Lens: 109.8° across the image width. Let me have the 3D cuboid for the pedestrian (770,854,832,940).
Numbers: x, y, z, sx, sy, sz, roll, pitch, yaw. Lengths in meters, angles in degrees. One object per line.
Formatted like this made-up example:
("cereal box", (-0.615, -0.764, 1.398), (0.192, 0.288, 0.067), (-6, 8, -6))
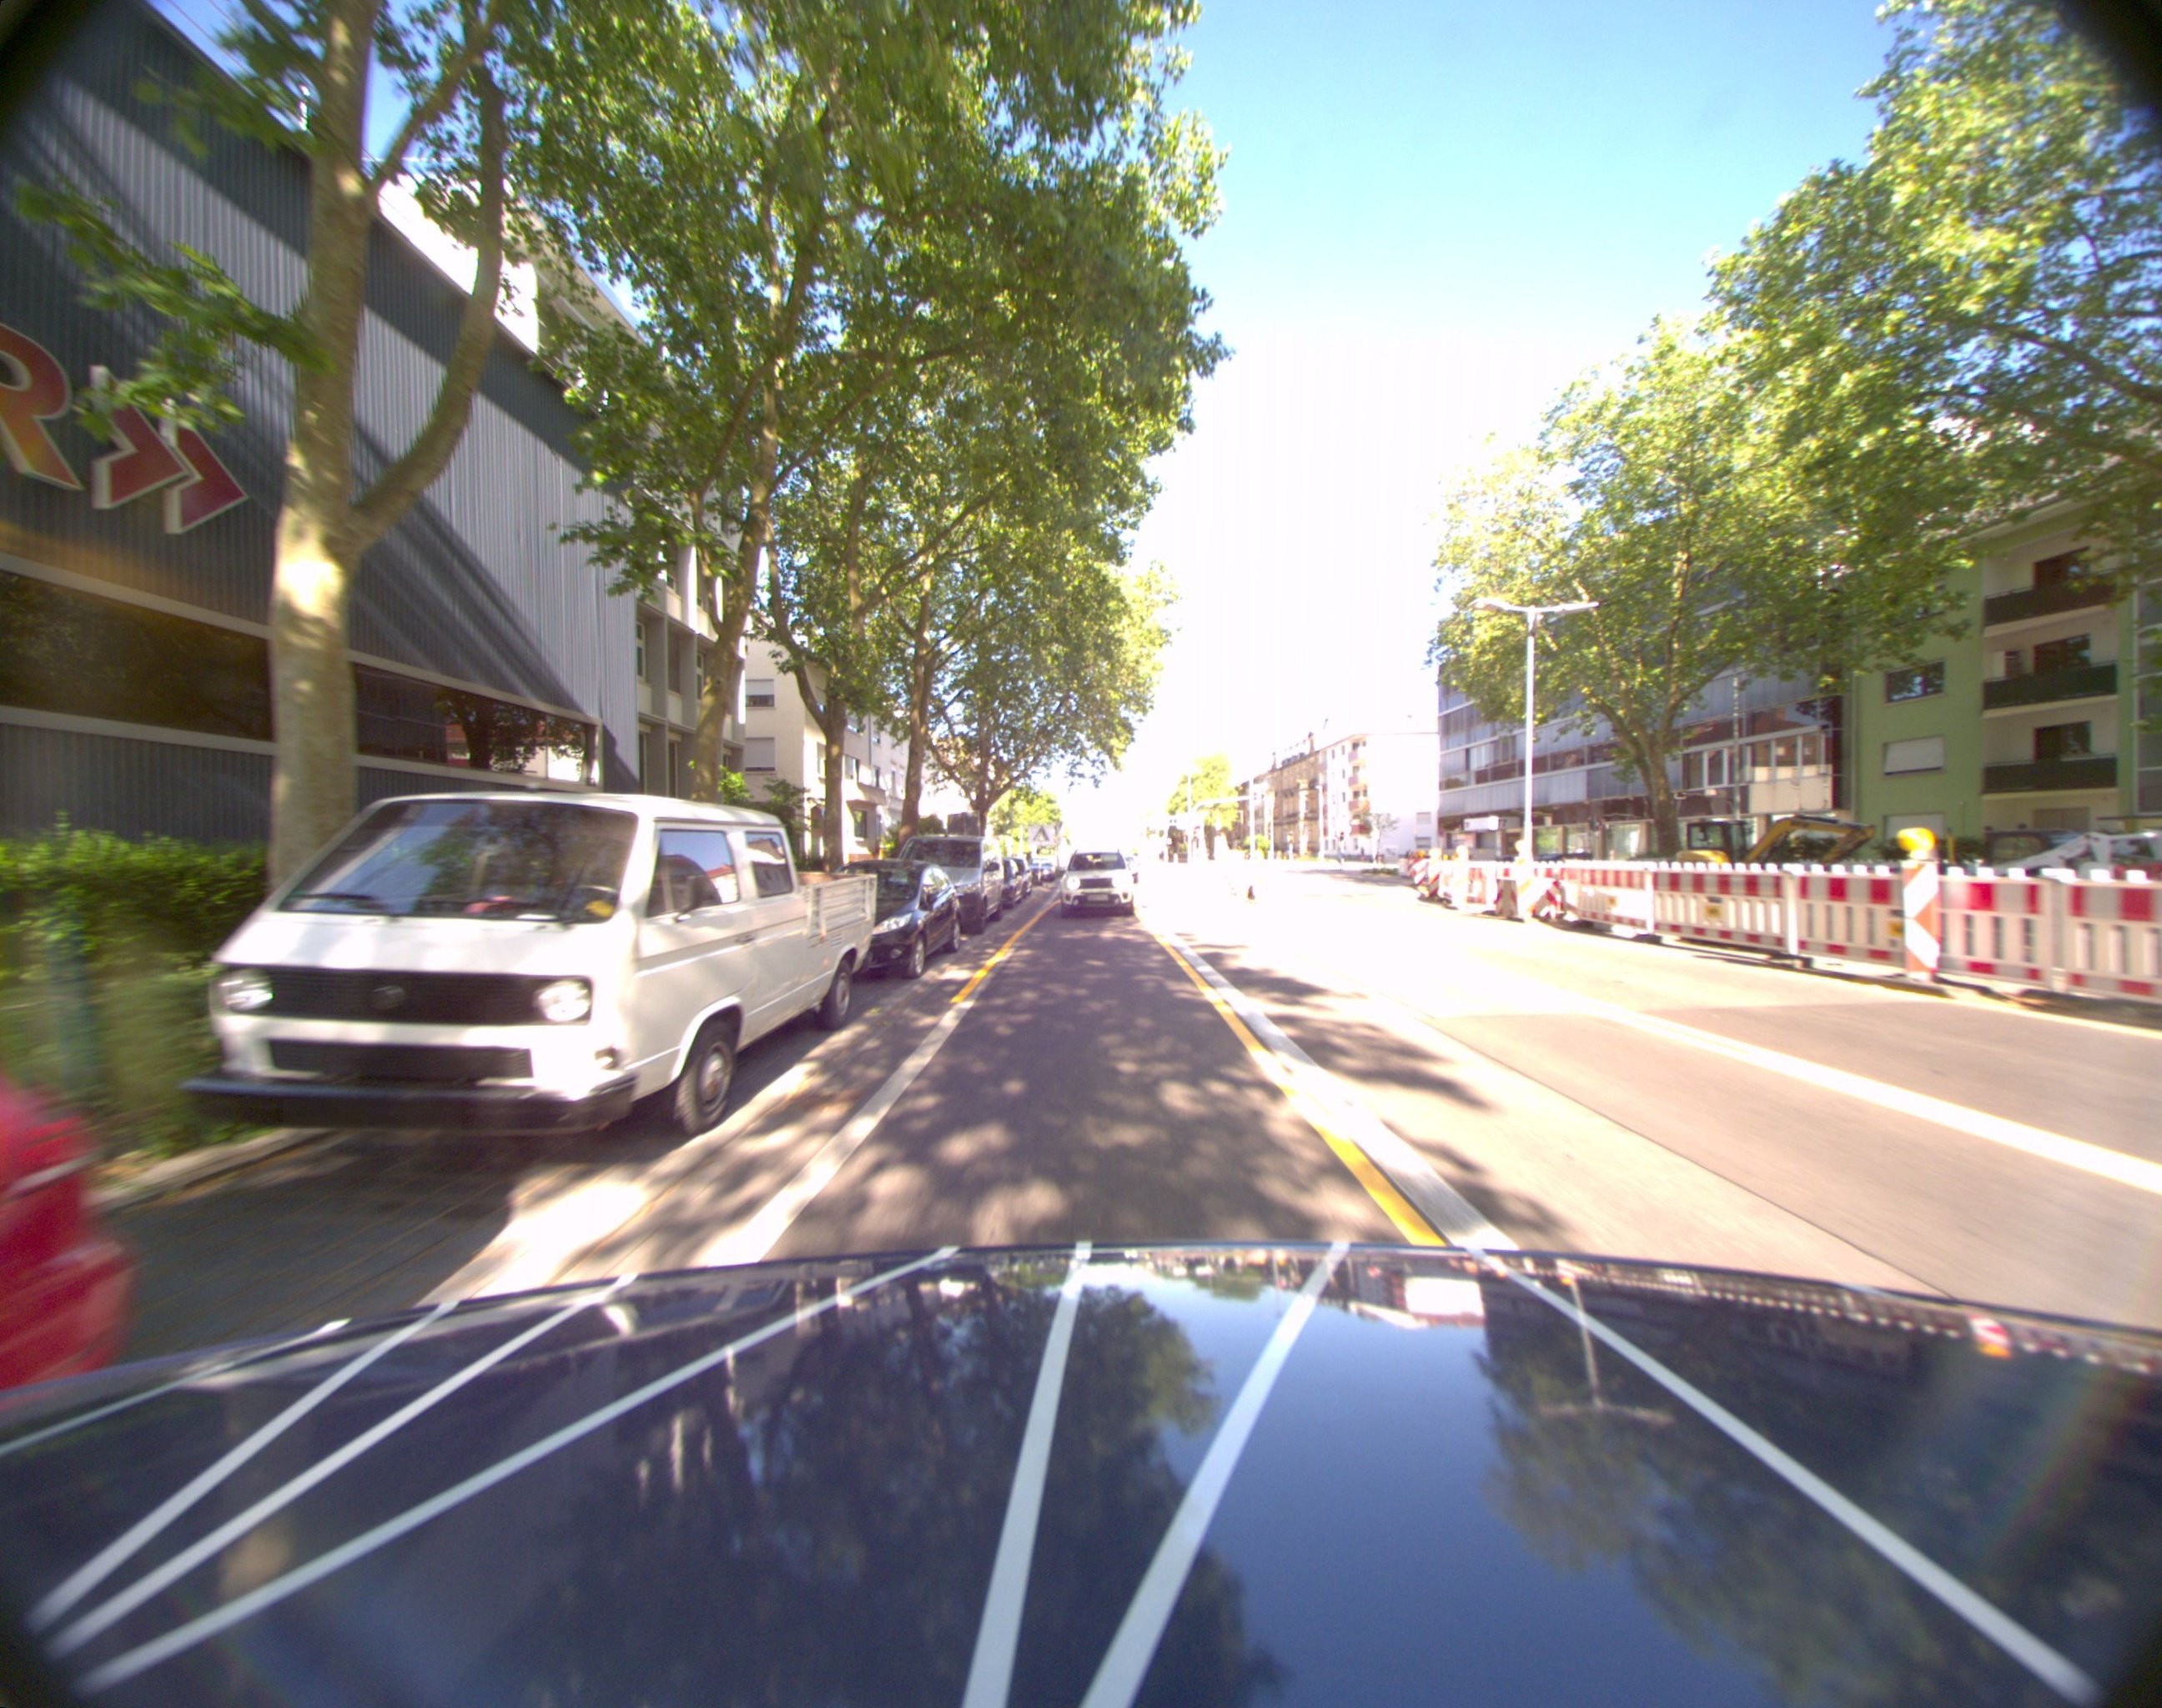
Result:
("pedestrian", (-5.455, 0.813, 14.866), (0.730, 1.593, 1.267), (-1, 1, -2))

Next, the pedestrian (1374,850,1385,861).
("pedestrian", (30.706, 0.156, 78.104), (0.719, 1.146, 0.788), (-1, 1, -12))

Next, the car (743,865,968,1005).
("car", (-2.839, 0.941, 10.586), (1.752, 1.469, 4.101), (0, 1, 2))

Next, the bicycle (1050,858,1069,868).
("bicycle", (-2.372, 1.015, 84.232), (1.967, 1.019, 0.605), (-2, 0, 0))

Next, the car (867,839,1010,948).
("car", (-2.820, 0.695, 16.331), (2.031, 1.935, 5.272), (-1, 0, 0))

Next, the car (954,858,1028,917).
("car", (-2.627, 0.947, 23.022), (1.661, 1.531, 4.128), (-2, 0, 0))

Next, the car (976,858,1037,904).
("car", (-2.667, 0.938, 28.013), (1.768, 1.499, 4.250), (-1, 0, 0))

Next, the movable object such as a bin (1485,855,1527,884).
("movable object such as a bin", (20.742, 0.741, 37.079), (1.413, 1.330, 1.157), (-1, 1, 3))

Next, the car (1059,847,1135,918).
("car", (0.476, 0.694, 19.657), (1.743, 1.647, 3.691), (-1, -1, 3))

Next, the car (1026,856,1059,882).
("car", (-2.331, 0.904, 47.239), (1.857, 1.471, 4.941), (-1, 0, -1))

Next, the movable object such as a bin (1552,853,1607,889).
("movable object such as a bin", (20.873, 0.685, 31.832), (1.637, 1.414, 1.260), (-1, 1, -25))

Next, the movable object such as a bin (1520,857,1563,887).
("movable object such as a bin", (20.376, 0.798, 33.661), (0.982, 1.263, 1.540), (-1, 0, 0))

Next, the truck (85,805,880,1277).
("truck", (-2.948, 0.722, 5.226), (1.881, 1.870, 4.453), (0, 1, 1))

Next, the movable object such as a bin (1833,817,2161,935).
("movable object such as a bin", (20.860, 0.393, 17.351), (1.998, 2.265, 5.599), (0, 1, 3))

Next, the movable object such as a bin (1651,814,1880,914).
("movable object such as a bin", (20.809, 0.251, 23.532), (2.152, 2.690, 5.353), (-1, 0, -2))

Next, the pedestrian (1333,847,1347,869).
("pedestrian", (20.713, 0.305, 60.819), (0.866, 1.701, 1.013), (-1, 0, 8))

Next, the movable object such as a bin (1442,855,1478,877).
("movable object such as a bin", (21.110, 0.659, 42.344), (1.397, 1.196, 1.241), (-1, 1, 3))

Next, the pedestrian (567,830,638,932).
("pedestrian", (-8.081, 0.458, 12.854), (0.707, 1.639, 0.675), (-3, -2, -2))

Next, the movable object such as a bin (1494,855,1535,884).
("movable object such as a bin", (20.539, 0.739, 35.994), (1.413, 1.330, 0.936), (-1, 1, 3))

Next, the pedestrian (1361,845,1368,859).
("pedestrian", (30.618, -0.222, 82.070), (0.601, 1.488, 0.695), (-1, 1, 4))

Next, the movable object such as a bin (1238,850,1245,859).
("movable object such as a bin", (27.205, 0.068, 128.606), (0.895, 1.352, 1.474), (1, -1, 2))

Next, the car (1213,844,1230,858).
("car", (26.268, -0.503, 141.866), (2.250, 2.431, 5.288), (1, -1, 1))

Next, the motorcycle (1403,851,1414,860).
("motorcycle", (33.633, 0.182, 78.025), (0.504, 0.931, 1.843), (-1, 0, 8))

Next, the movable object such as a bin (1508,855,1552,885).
("movable object such as a bin", (20.643, 0.725, 34.959), (1.413, 1.330, 1.069), (-1, 1, 2))
